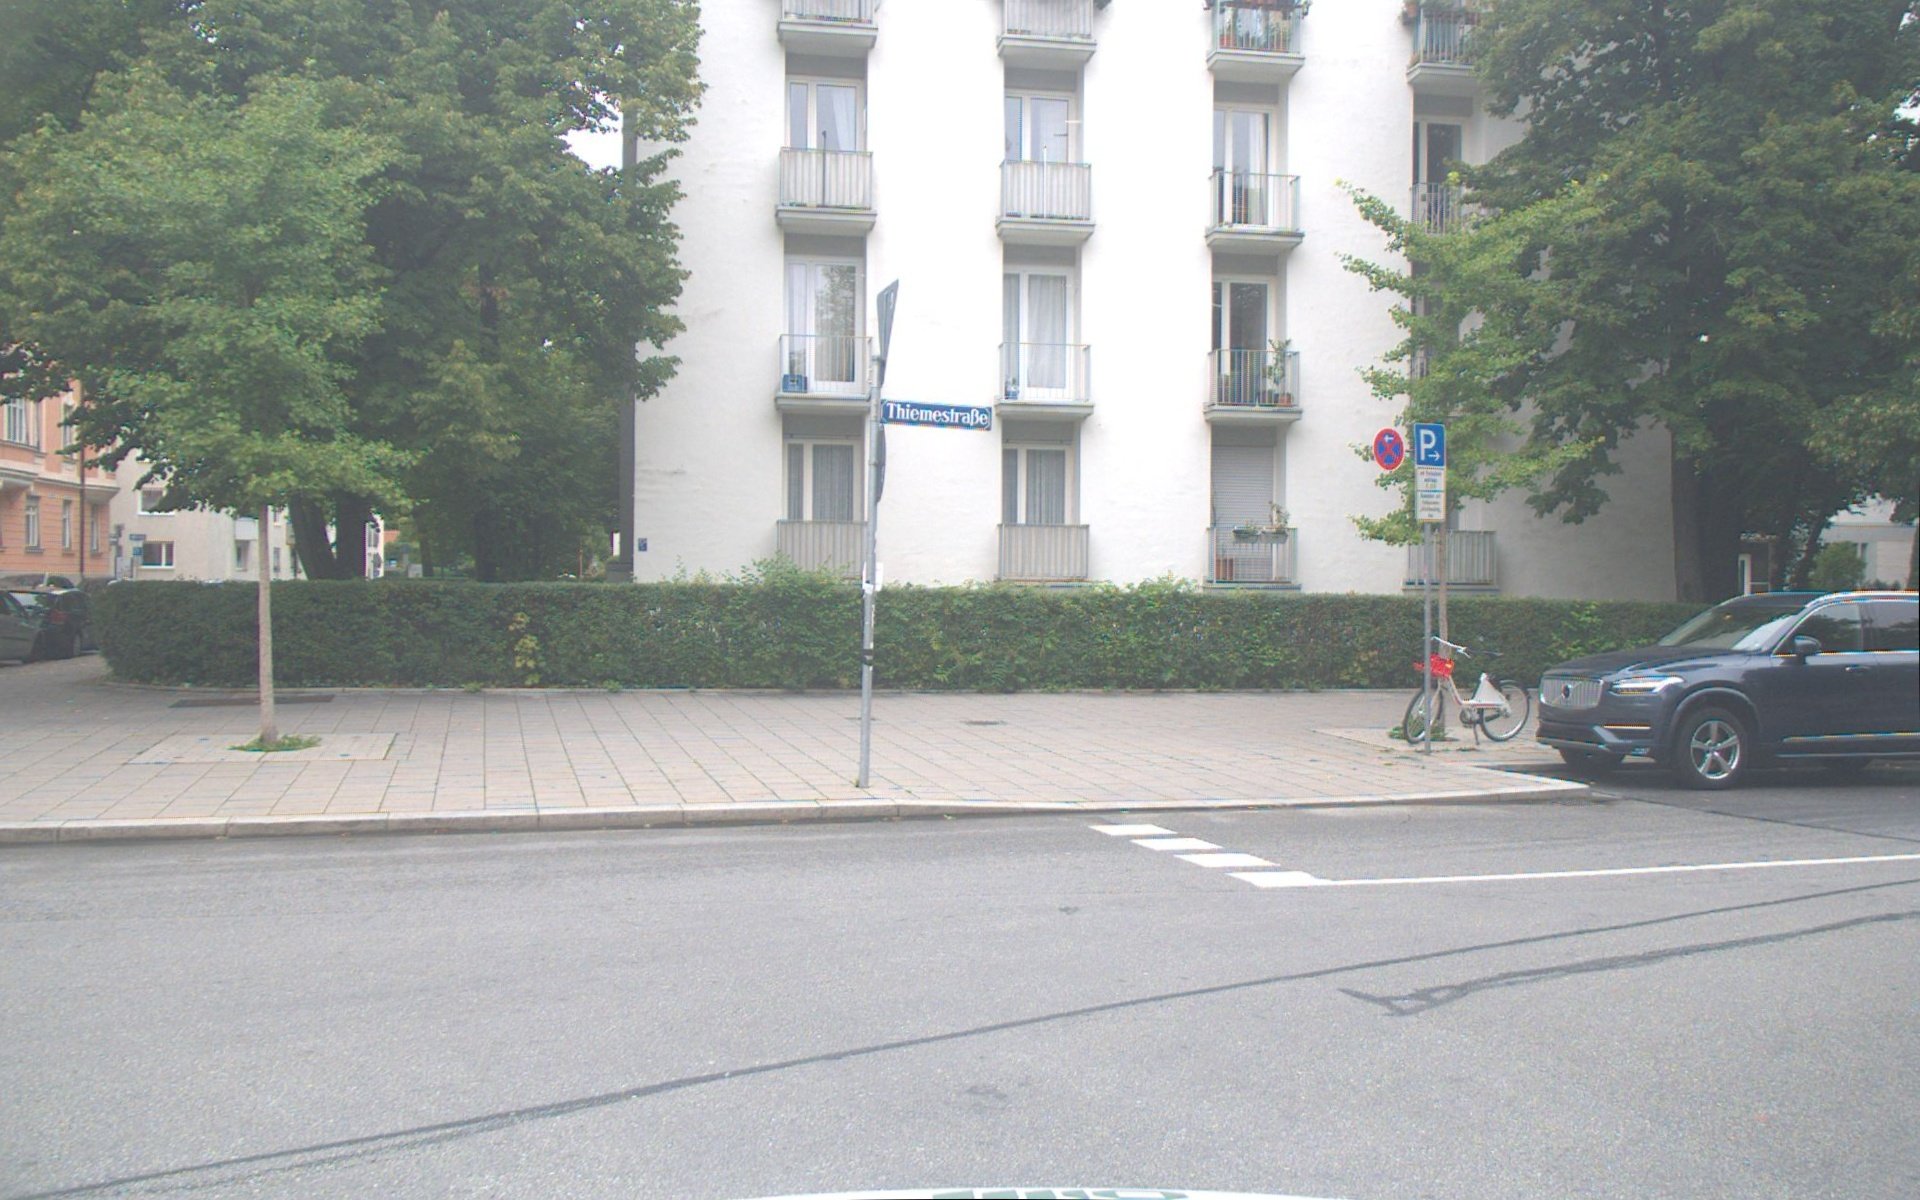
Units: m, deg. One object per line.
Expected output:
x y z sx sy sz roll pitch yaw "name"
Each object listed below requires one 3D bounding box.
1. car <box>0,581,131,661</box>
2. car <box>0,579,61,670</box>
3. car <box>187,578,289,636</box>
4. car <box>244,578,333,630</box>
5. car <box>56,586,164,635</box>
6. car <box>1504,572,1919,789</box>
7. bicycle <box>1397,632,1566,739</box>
-18.808 0.389 34.592 1.764 1.531 4.099 -1 1 -15 "car"
-17.328 0.409 29.011 1.764 1.531 4.099 -1 1 -15 "car"
-21.750 0.177 50.003 1.801 1.663 4.107 -1 1 -9 "car"
-22.523 0.109 55.608 1.800 1.663 3.813 -1 1 -7 "car"
-29.108 0.334 56.785 1.938 1.608 4.400 1 0 -8 "car"
7.774 0.697 15.499 4.815 1.823 1.992 0 -1 -15 "car"
5.540 0.894 17.554 1.798 1.067 0.489 0 0 -21 "bicycle"
